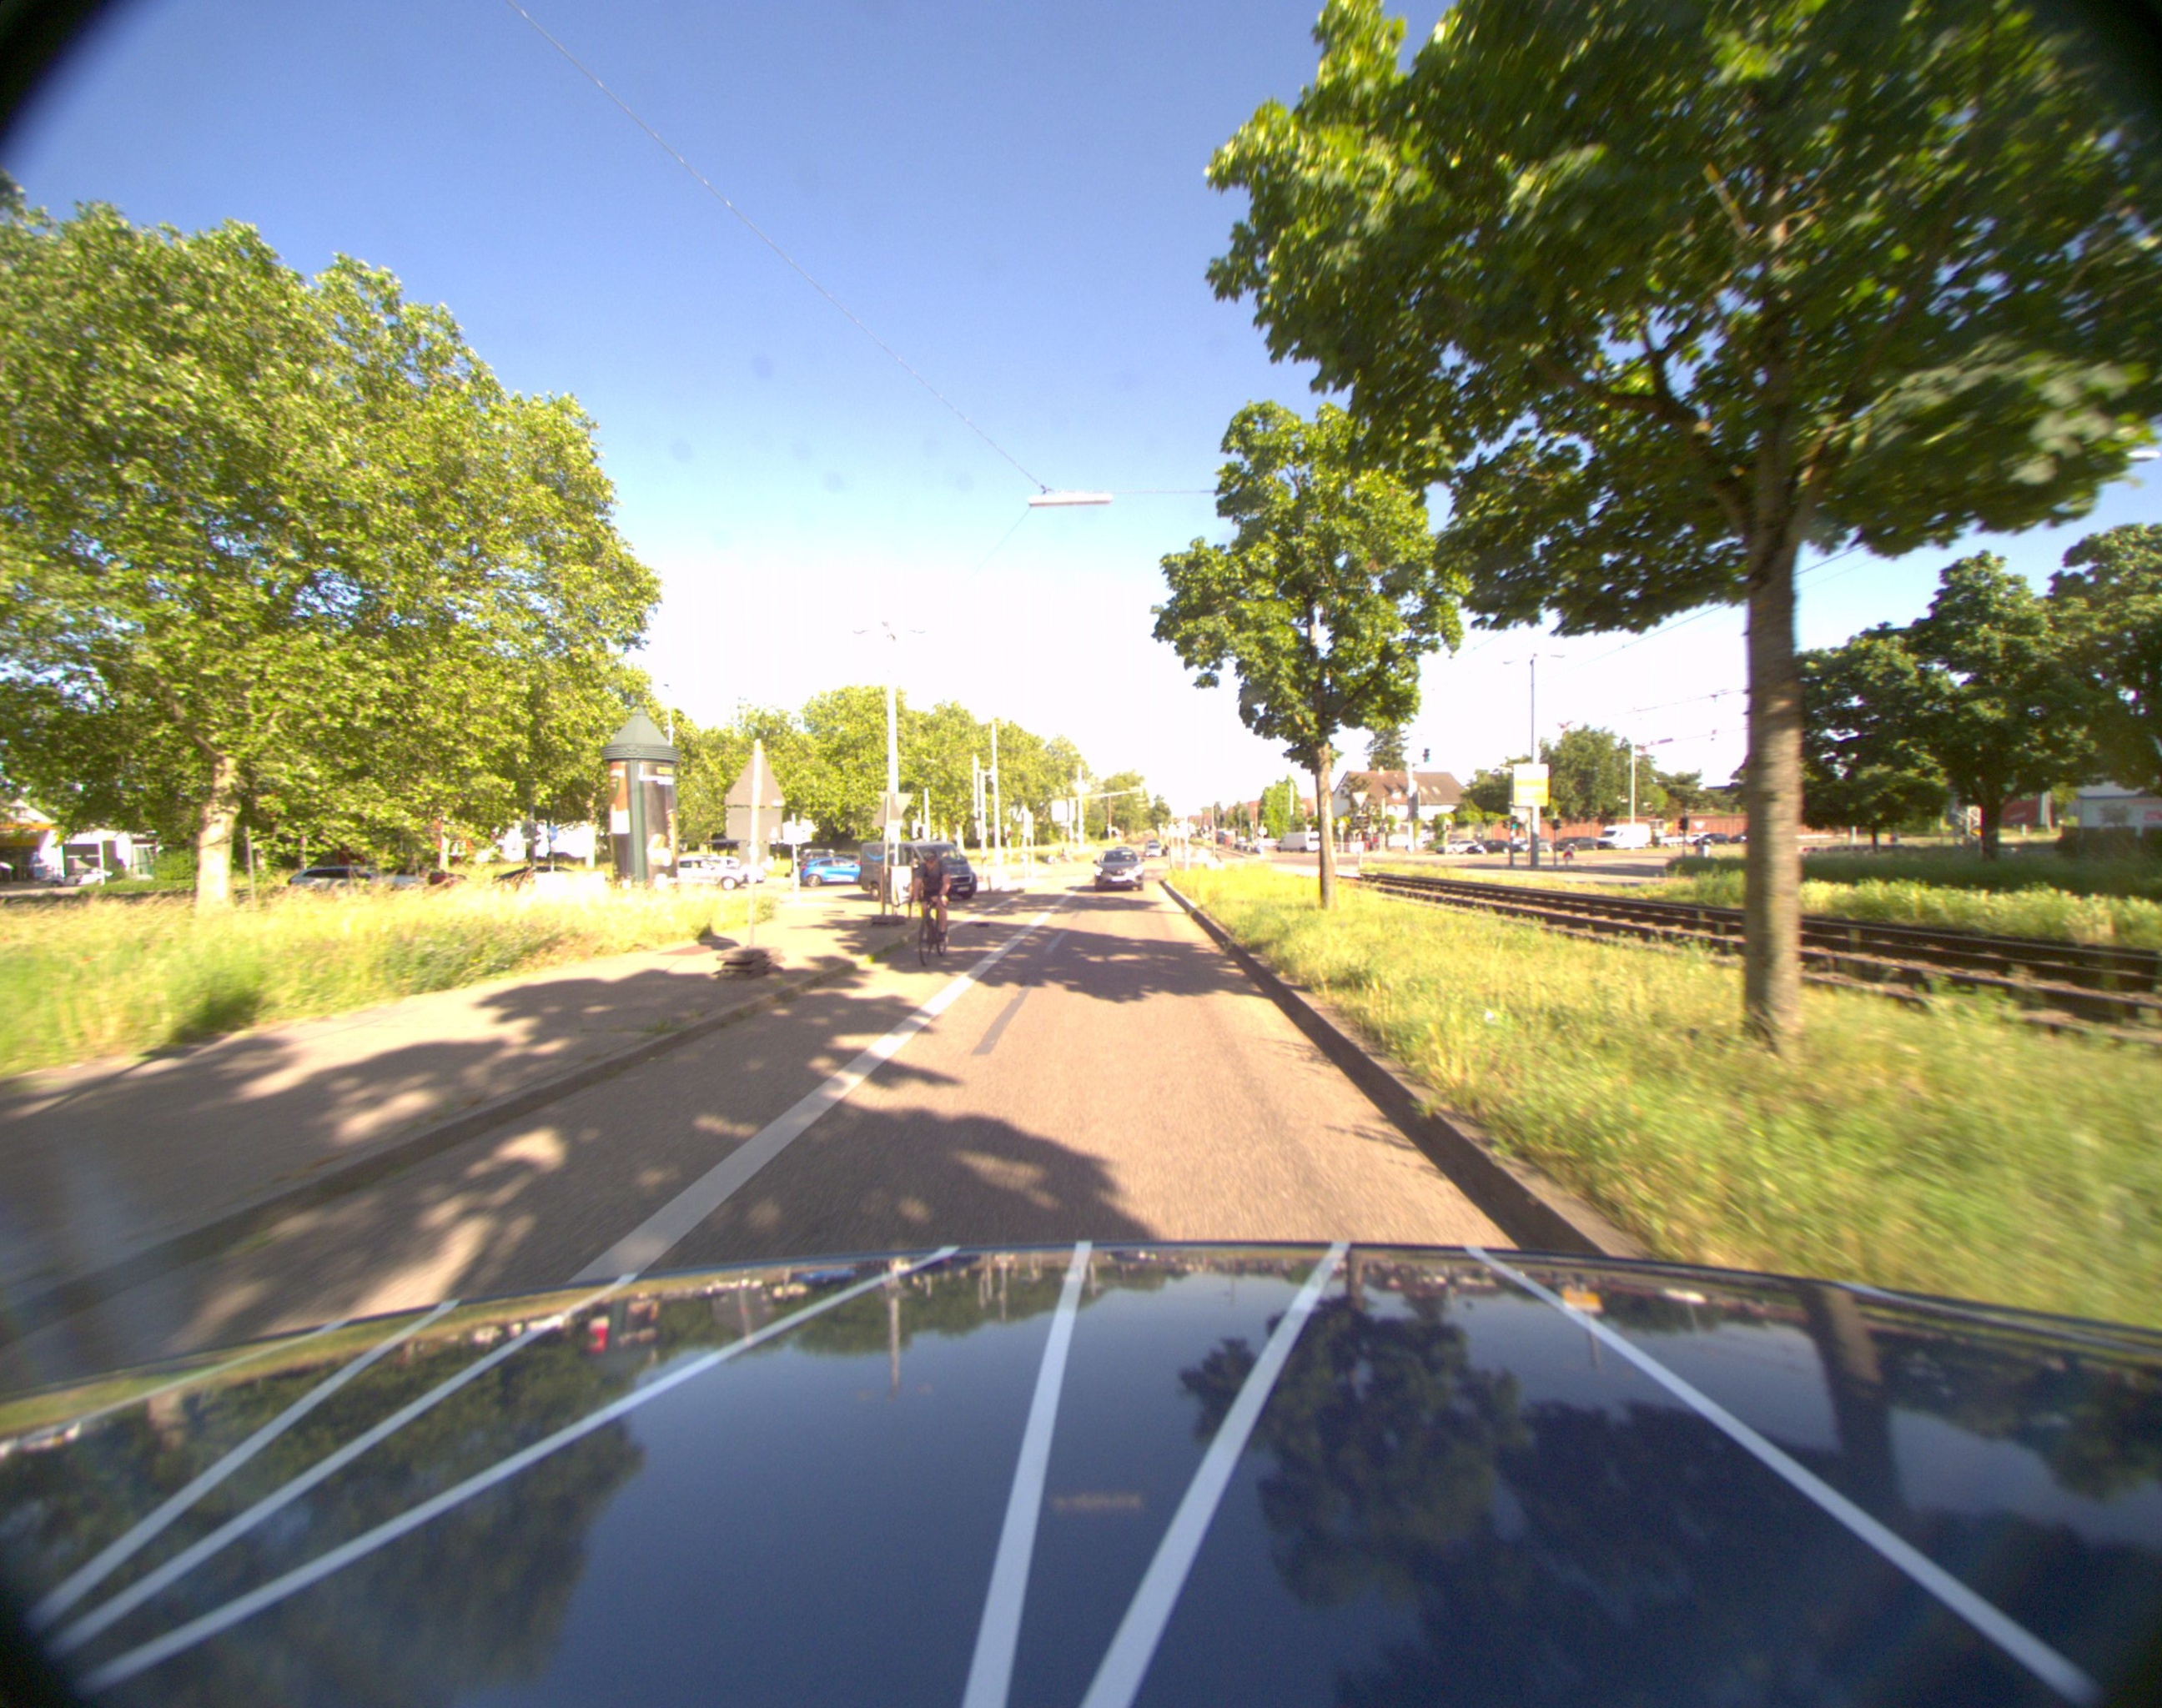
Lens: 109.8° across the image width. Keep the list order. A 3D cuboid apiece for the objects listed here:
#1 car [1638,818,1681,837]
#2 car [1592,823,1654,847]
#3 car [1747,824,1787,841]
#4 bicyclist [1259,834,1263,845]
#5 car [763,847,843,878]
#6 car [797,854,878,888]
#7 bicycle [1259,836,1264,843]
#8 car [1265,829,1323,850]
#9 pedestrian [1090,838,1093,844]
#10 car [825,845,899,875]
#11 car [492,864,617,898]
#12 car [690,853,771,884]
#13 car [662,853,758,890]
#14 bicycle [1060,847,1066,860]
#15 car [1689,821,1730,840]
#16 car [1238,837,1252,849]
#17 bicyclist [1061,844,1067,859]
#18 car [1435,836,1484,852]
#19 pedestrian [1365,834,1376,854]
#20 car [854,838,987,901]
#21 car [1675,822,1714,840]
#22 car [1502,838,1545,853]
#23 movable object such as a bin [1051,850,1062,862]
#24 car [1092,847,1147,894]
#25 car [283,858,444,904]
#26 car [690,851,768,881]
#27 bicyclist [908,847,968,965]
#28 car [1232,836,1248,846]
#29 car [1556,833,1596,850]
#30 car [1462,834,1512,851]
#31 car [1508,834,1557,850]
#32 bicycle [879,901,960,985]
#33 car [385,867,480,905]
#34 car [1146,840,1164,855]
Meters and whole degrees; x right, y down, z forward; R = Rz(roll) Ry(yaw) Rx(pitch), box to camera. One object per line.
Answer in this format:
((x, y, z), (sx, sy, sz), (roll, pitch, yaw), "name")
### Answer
((61.062, -2.810, 80.190), (4.004, 2.002, 1.804), (-2, 2, -23), "car")
((55.505, -1.940, 77.839), (5.927, 2.397, 2.177), (-1, 2, -20), "car")
((77.185, -2.424, 85.519), (4.004, 1.732, 1.804), (-2, 1, -23), "car")
((27.500, -2.248, 116.182), (0.490, 1.599, 0.648), (-1, 2, 5), "bicyclist")
((-17.163, 0.474, 46.915), (4.499, 1.702, 1.917), (-1, 2, -22), "car")
((-12.910, 0.858, 40.336), (3.864, 1.591, 1.710), (-3, 1, -24), "car")
((27.500, -2.240, 115.973), (0.508, 1.036, 1.949), (-1, 2, 5), "bicycle")
((25.670, -1.740, 91.910), (2.352, 2.444, 6.852), (-2, 2, -33), "car")
((1.950, -2.351, 138.869), (0.482, 1.027, 0.454), (-1, 2, 6), "pedestrian")
((-12.868, 0.327, 44.636), (4.093, 1.591, 1.813), (-1, 2, -19), "car")
((-25.103, 1.259, 36.448), (4.575, 1.400, 1.931), (-1, 1, -23), "car")
((-19.423, 0.770, 42.259), (3.863, 1.591, 1.710), (-1, 1, -19), "car")
((-18.568, 0.852, 38.220), (4.179, 1.669, 1.930), (-2, 1, -23), "car")
((-1.626, -0.060, 68.985), (0.468, 1.112, 1.819), (-1, 2, -1), "bicycle")
((68.822, -2.552, 83.192), (4.004, 2.002, 1.804), (-2, 2, -23), "car")
((23.872, -1.684, 110.873), (1.794, 1.678, 4.003), (-1, 2, 9), "car")
((-1.572, -0.186, 68.388), (0.511, 1.333, 0.565), (-1, 2, -2), "bicyclist")
((37.290, -0.959, 74.943), (4.641, 1.469, 1.669), (-1, 2, -22), "car")
((28.268, -0.960, 74.159), (0.612, 1.937, 0.774), (-3, 2, -38), "pedestrian")
((-5.960, 0.502, 27.853), (5.104, 2.059, 2.135), (0, 2, 42), "car")
((70.375, -2.591, 87.220), (4.004, 2.002, 1.804), (-2, 2, -23), "car")
((45.411, -0.897, 78.005), (4.004, 1.469, 1.669), (-1, 2, -22), "car")
((-2.174, 0.161, 67.424), (0.911, 1.062, 1.316), (-1, 2, 0), "movable object such as a bin")
((1.491, 0.550, 28.479), (1.838, 1.542, 3.816), (-1, 2, 6), "car")
((-32.036, 1.169, 34.138), (4.780, 1.673, 1.905), (-3, 3, -22), "car")
((-20.741, 0.661, 44.960), (4.004, 1.609, 1.996), (-1, 1, -22), "car")
((-2.127, 0.747, 11.395), (0.616, 1.670, 0.933), (-1, 2, 5), "bicyclist")
((26.947, -2.286, 129.193), (1.818, 1.587, 4.692), (-1, 2, 1), "car")
((49.176, -1.223, 75.438), (3.531, 1.559, 1.494), (-2, 1, -20), "car")
((38.531, -1.075, 72.100), (4.253, 1.458, 1.934), (-2, 2, -22), "car")
((43.851, -1.171, 73.800), (4.263, 1.458, 1.934), (-2, 1, -22), "car")
((-2.293, 1.236, 11.048), (0.525, 0.918, 2.089), (-1, 2, 6), "bicycle")
((-31.798, 1.561, 37.359), (3.212, 1.608, 1.369), (-2, 5, -23), "car")
((8.281, -0.746, 85.370), (1.881, 1.519, 4.421), (-1, 2, 4), "car")
